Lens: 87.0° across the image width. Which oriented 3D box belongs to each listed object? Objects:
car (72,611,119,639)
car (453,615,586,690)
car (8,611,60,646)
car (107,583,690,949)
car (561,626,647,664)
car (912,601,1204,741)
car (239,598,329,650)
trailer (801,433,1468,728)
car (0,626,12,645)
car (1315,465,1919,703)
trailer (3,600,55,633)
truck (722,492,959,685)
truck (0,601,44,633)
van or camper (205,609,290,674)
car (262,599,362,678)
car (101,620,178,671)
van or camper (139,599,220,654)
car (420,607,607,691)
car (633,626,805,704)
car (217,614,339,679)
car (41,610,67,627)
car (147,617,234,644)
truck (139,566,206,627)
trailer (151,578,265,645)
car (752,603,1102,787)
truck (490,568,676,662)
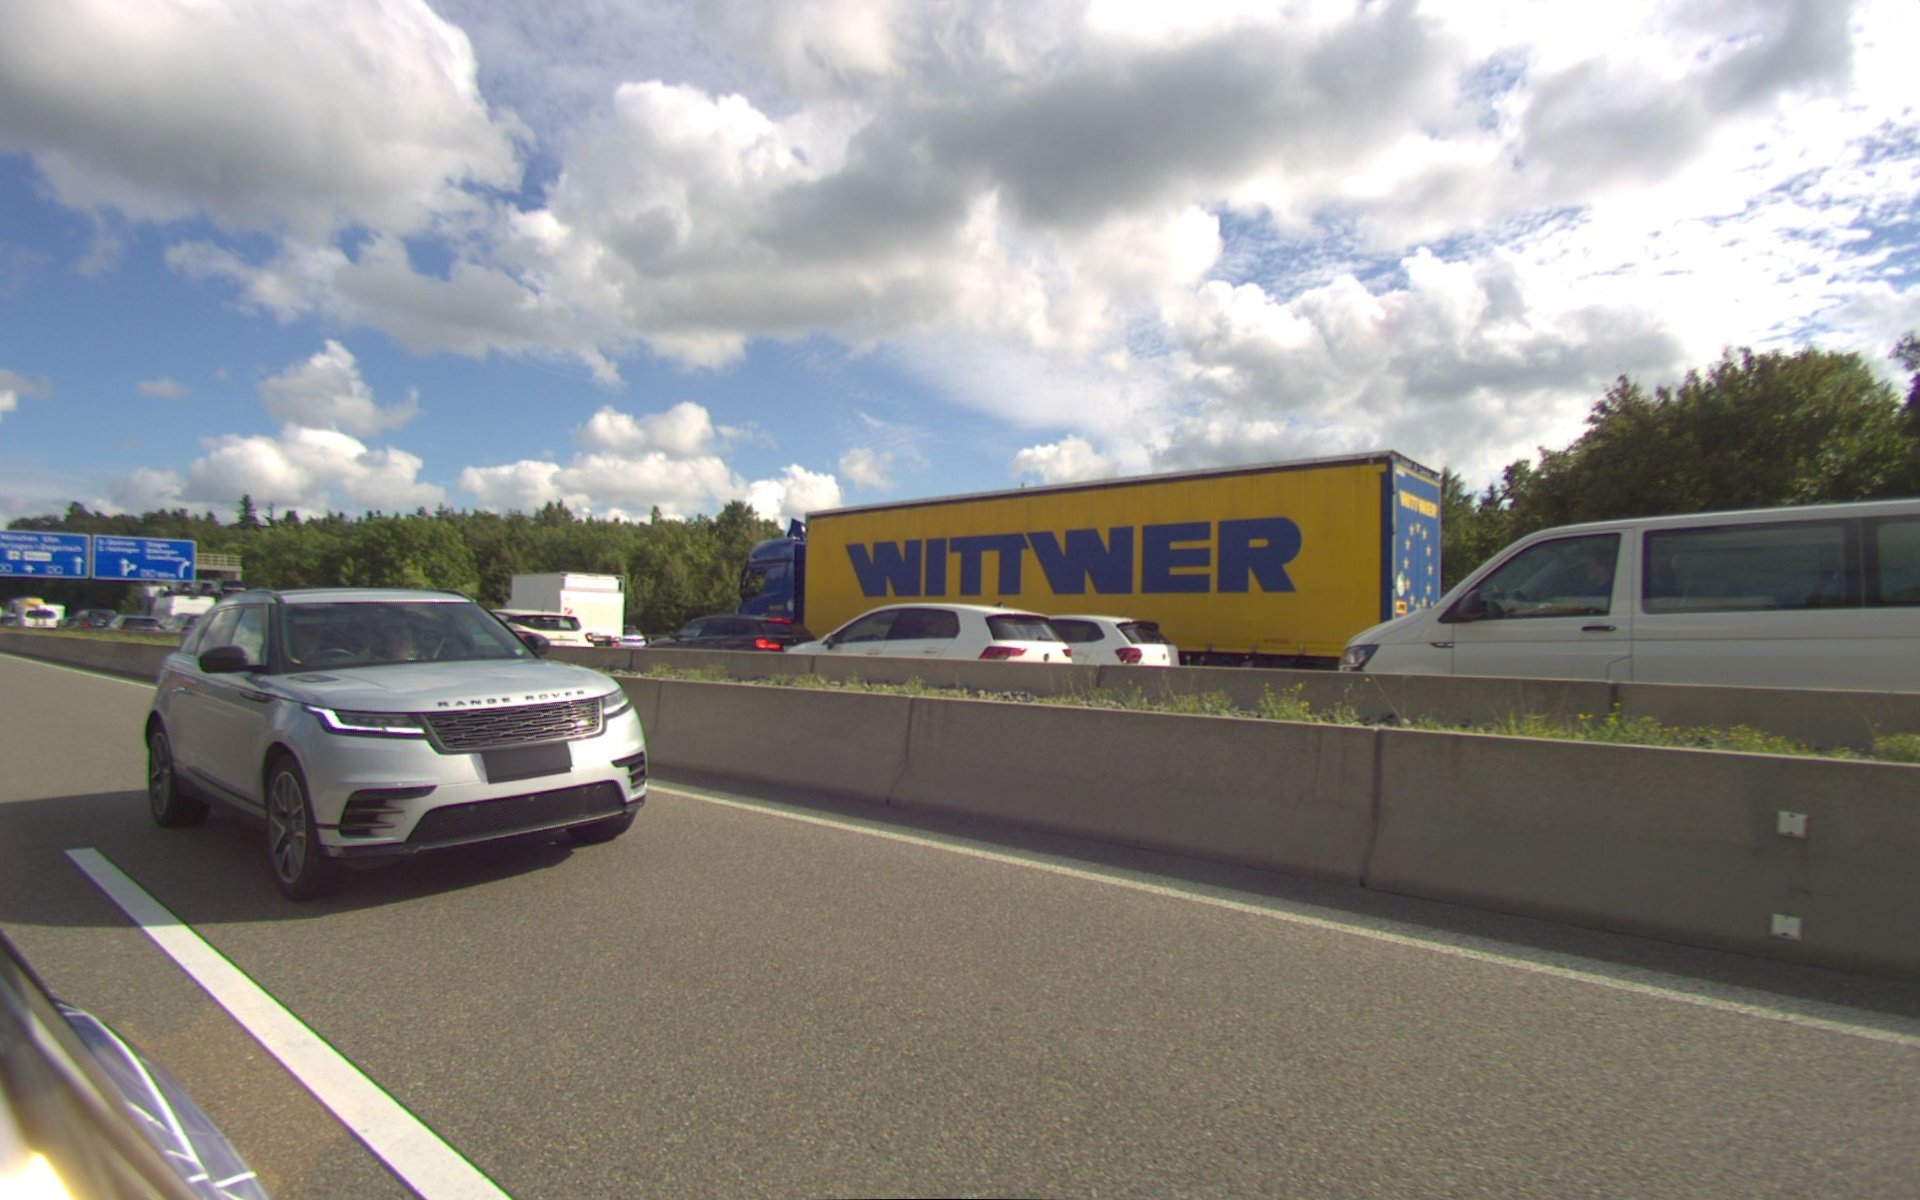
[{"bbox_3d":[-60.365,1.706,70.634,4.695,1.890,1.891,-1,-1,42],"label":"car"},{"bbox_3d":[-12.271,1.387,28.087,4.293,1.829,1.669,0,1,40],"label":"car"},{"bbox_3d":[-59.302,1.777,64.794,5.277,2.115,1.972,0,1,42],"label":"car"},{"bbox_3d":[-4.104,0.763,6.889,5.103,1.619,1.880,-1,-1,41],"label":"car"},{"bbox_3d":[-16.076,1.988,45.642,4.204,1.506,1.821,0,1,41],"label":"car"},{"bbox_3d":[1.395,0.953,15.540,4.293,1.829,1.669,0,1,41],"label":"car"},{"bbox_3d":[-28.523,0.964,42.637,4.654,2.029,1.973,0,1,41],"label":"car"},{"bbox_3d":[2.353,-0.326,20.162,13.652,4.266,2.742,0,1,41],"label":"trailer"},{"bbox_3d":[-69.588,2.543,72.843,3.999,1.383,1.677,-1,-1,42],"label":"car"},{"bbox_3d":[5.506,-0.100,7.017,5.485,1.364,1.831,0,1,41],"label":"car"},{"bbox_3d":[-114.813,2.097,124.742,13.255,3.857,3.376,-1,0,41],"label":"trailer"},{"bbox_3d":[-3.017,-0.270,24.787,5.614,4.179,2.708,0,0,41],"label":"truck"},{"bbox_3d":[-119.528,2.174,128.945,6.799,3.929,3.381,-1,0,41],"label":"truck"},{"bbox_3d":[-33.123,1.848,46.977,5.749,2.731,2.023,0,1,42],"label":"van or camper"},{"bbox_3d":[-26.567,1.510,41.393,5.400,2.985,1.973,-1,0,41],"label":"car"},{"bbox_3d":[-36.363,1.962,44.831,4.409,2.029,1.972,0,-1,42],"label":"car"},{"bbox_3d":[-42.392,1.357,54.914,6.630,2.731,2.365,0,1,42],"label":"van or camper"},{"bbox_3d":[-8.737,0.894,19.650,3.997,1.387,1.739,-1,1,41],"label":"car"},{"bbox_3d":[-5.259,1.334,21.879,3.834,1.411,1.715,0,1,41],"label":"car"},{"bbox_3d":[-20.496,1.335,30.339,4.293,1.756,1.973,-1,1,41],"label":"car"},{"bbox_3d":[-103.095,2.132,115.152,3.949,1.890,1.781,-1,-1,42],"label":"car"},{"bbox_3d":[-28.032,1.107,36.816,4.603,0.864,1.618,-1,1,41],"label":"car"},{"bbox_3d":[-56.981,-0.217,73.177,5.711,4.266,2.823,-1,0,42],"label":"truck"},{"bbox_3d":[-50.001,0.761,66.970,15.998,4.005,2.801,-1,0,42],"label":"trailer"},{"bbox_3d":[-0.538,0.978,12.348,4.293,1.829,1.669,0,1,41],"label":"car"},{"bbox_3d":[-12.843,0.493,34.032,7.945,2.822,2.304,-1,0,41],"label":"truck"}]
